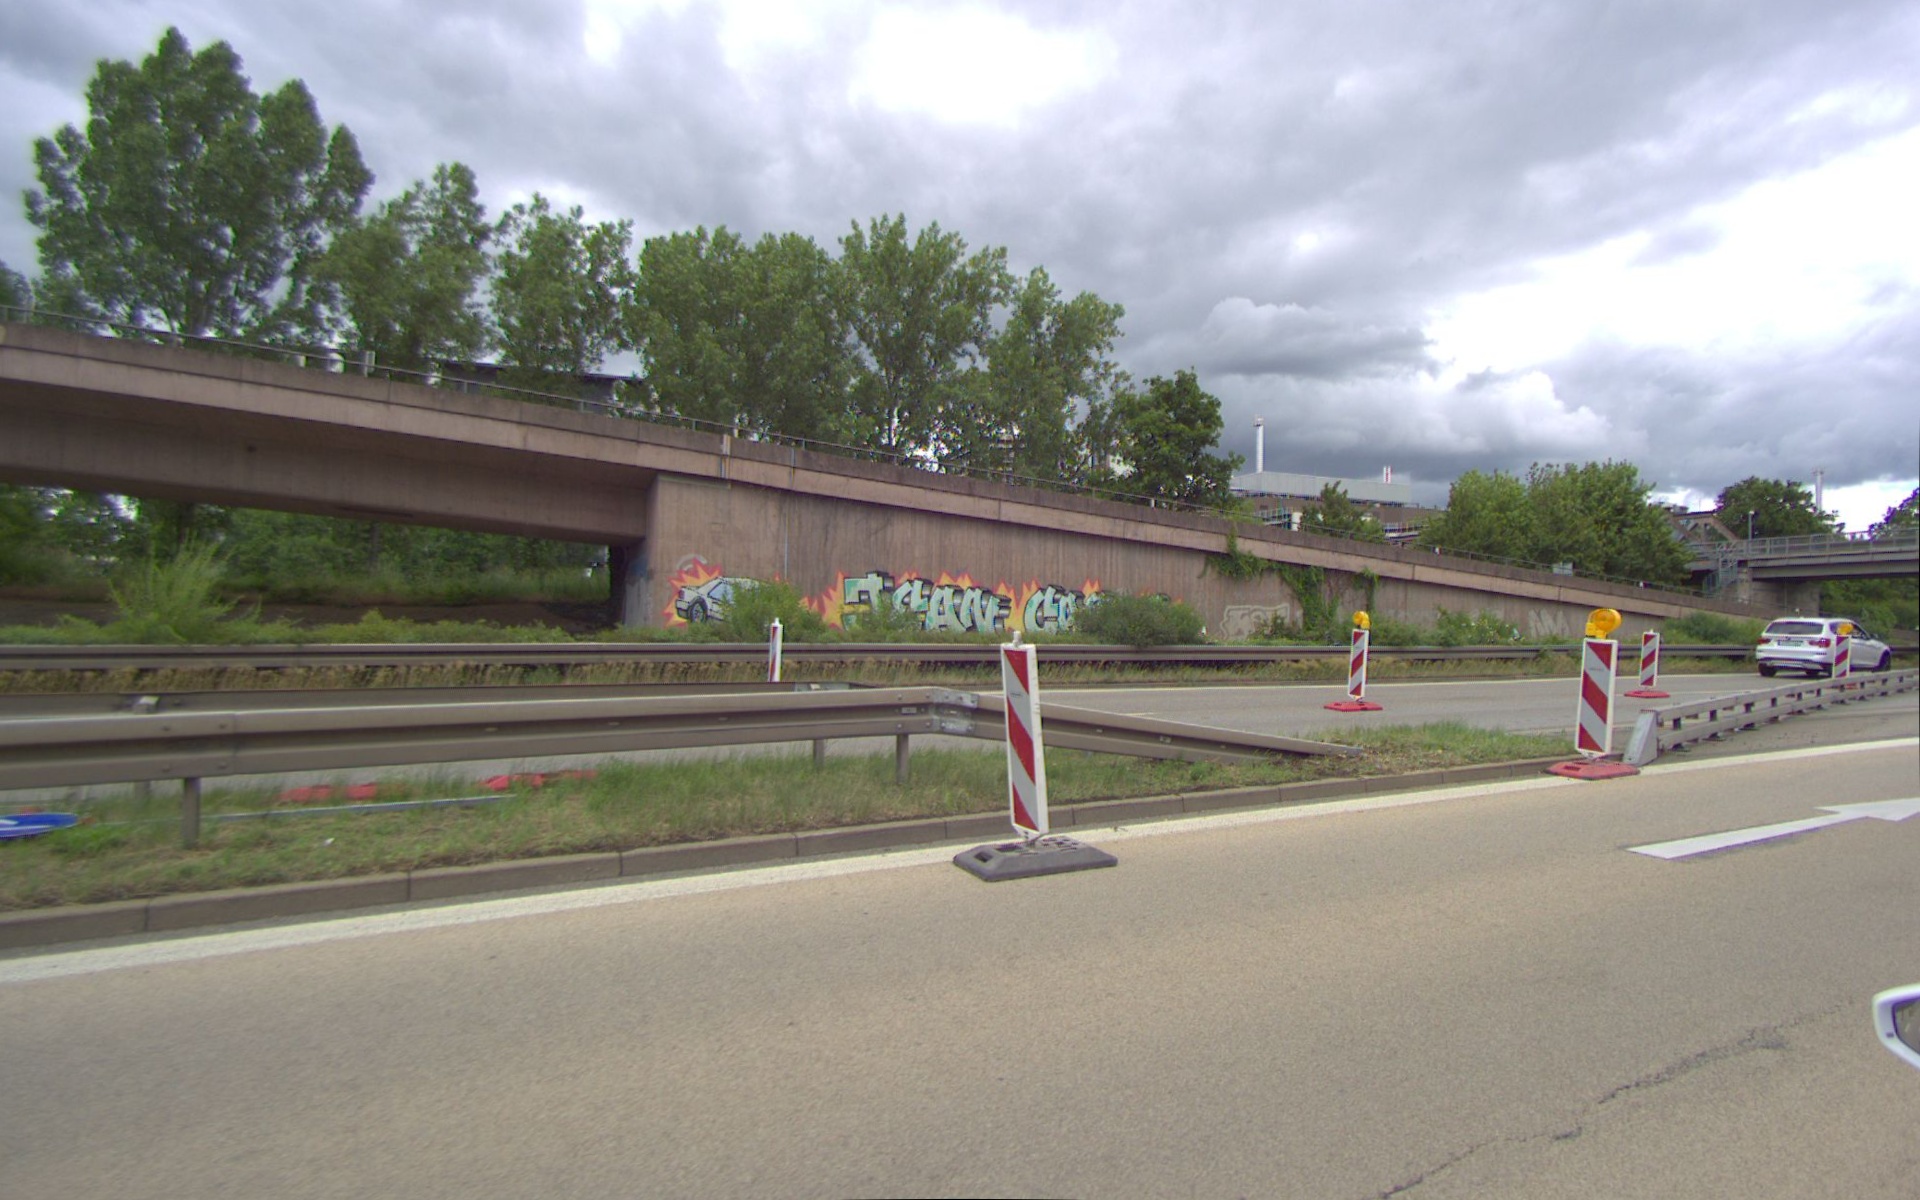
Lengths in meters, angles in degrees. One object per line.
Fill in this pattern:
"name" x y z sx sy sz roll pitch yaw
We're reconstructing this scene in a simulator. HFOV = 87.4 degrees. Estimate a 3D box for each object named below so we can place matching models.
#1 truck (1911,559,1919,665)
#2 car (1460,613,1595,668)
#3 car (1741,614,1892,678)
"truck" 36.701 0.489 35.149 7.650 3.603 2.980 2 -2 -30
"car" 18.529 1.323 32.786 4.238 1.662 1.846 2 -1 -28
"car" 24.268 1.296 28.443 4.238 1.662 1.846 2 -1 -28
